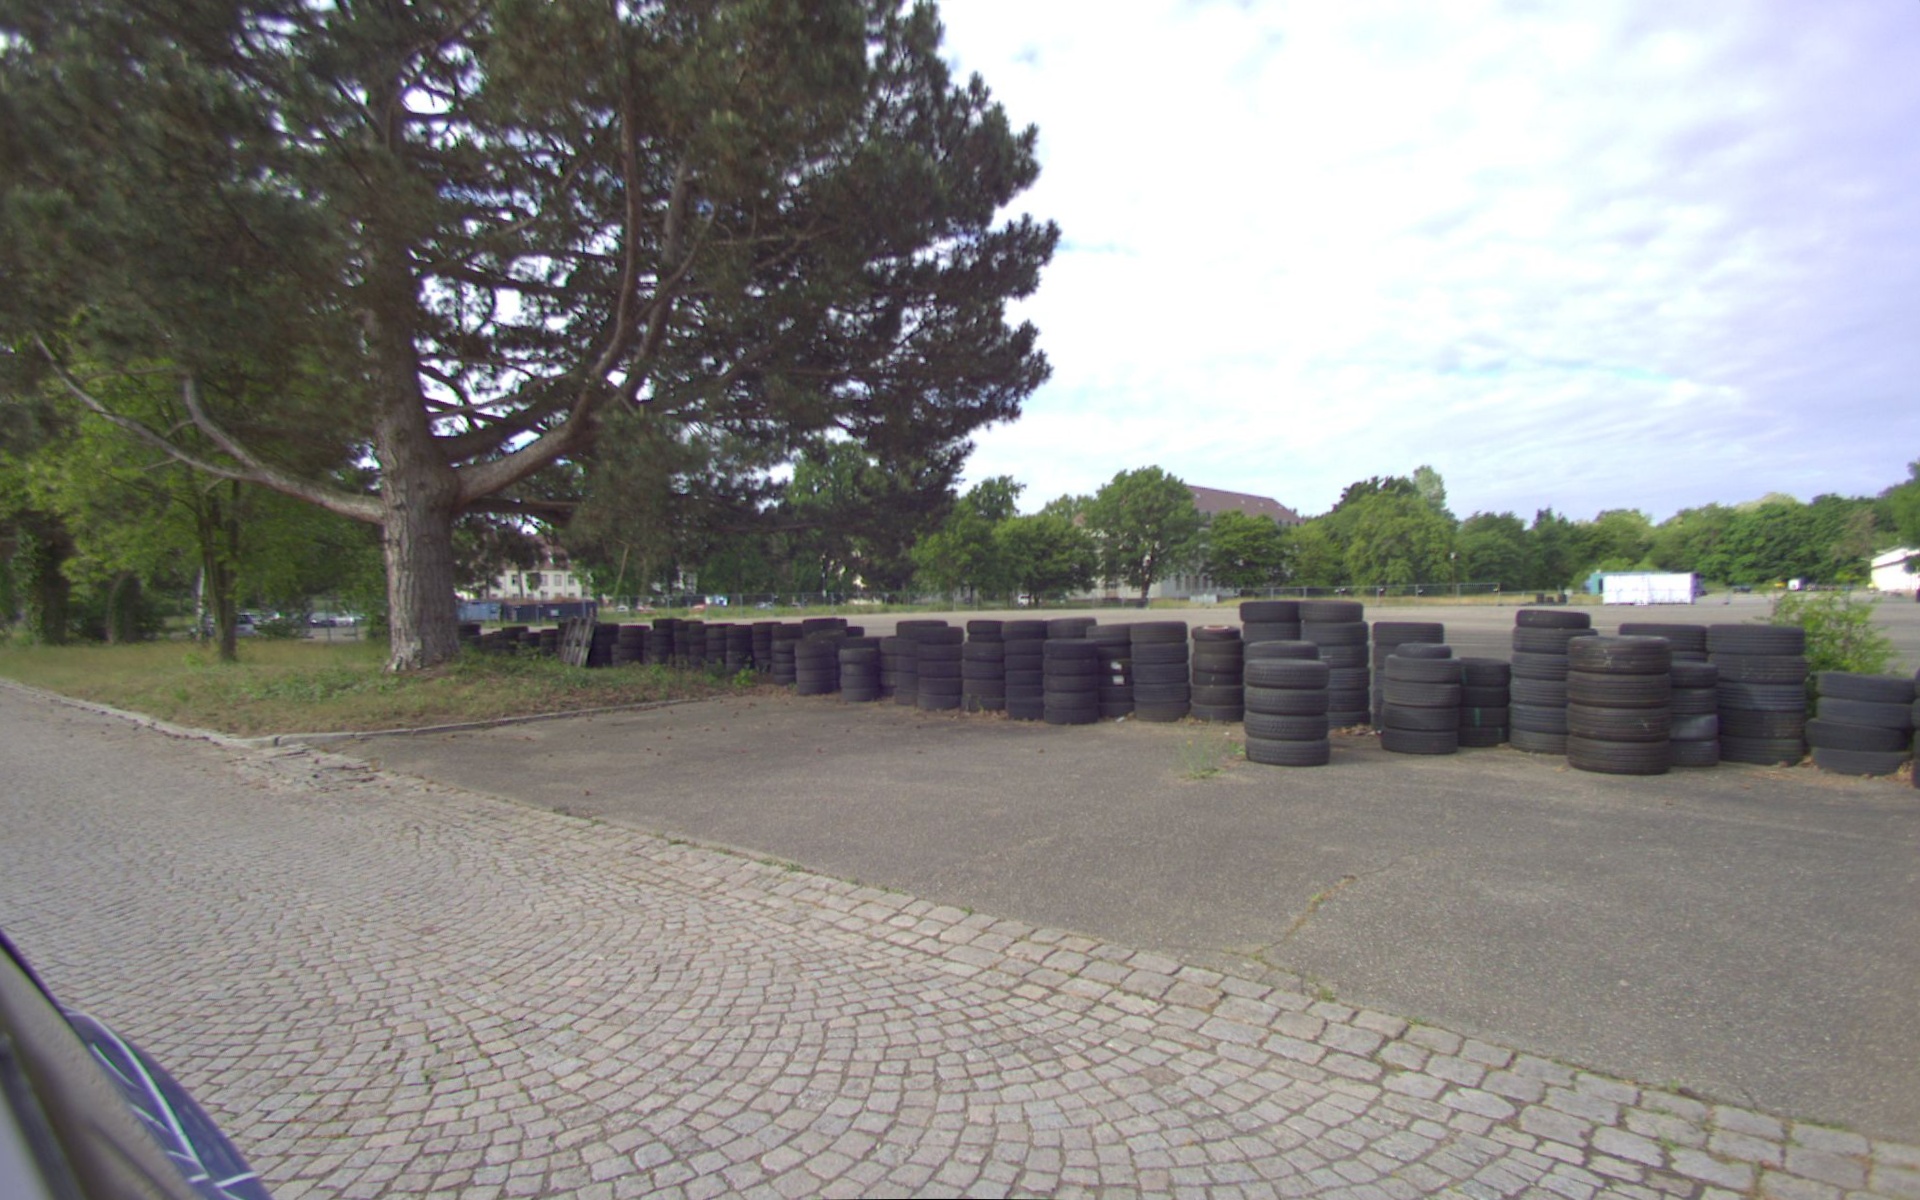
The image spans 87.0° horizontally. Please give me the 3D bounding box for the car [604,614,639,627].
[{"bbox_3d":[-38.322,2.275,114.497,4.399,1.361,1.689,-2,-1,40],"label":"car"}]

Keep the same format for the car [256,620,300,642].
[{"bbox_3d":[-53.228,2.443,78.958,3.893,1.531,1.654,-4,-2,38],"label":"car"}]

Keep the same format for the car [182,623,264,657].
[{"bbox_3d":[-32.768,1.796,44.973,4.415,1.427,1.807,-2,-3,38],"label":"car"}]

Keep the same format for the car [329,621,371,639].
[{"bbox_3d":[-50.467,2.487,83.670,4.031,1.410,1.617,-2,-1,38],"label":"car"}]

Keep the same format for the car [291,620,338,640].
[{"bbox_3d":[-51.849,2.418,81.222,4.396,1.486,1.807,-2,0,38],"label":"car"}]

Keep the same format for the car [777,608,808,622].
[{"bbox_3d":[-22.089,2.022,133.596,1.802,1.735,4.588,-1,-1,-42],"label":"car"}]
